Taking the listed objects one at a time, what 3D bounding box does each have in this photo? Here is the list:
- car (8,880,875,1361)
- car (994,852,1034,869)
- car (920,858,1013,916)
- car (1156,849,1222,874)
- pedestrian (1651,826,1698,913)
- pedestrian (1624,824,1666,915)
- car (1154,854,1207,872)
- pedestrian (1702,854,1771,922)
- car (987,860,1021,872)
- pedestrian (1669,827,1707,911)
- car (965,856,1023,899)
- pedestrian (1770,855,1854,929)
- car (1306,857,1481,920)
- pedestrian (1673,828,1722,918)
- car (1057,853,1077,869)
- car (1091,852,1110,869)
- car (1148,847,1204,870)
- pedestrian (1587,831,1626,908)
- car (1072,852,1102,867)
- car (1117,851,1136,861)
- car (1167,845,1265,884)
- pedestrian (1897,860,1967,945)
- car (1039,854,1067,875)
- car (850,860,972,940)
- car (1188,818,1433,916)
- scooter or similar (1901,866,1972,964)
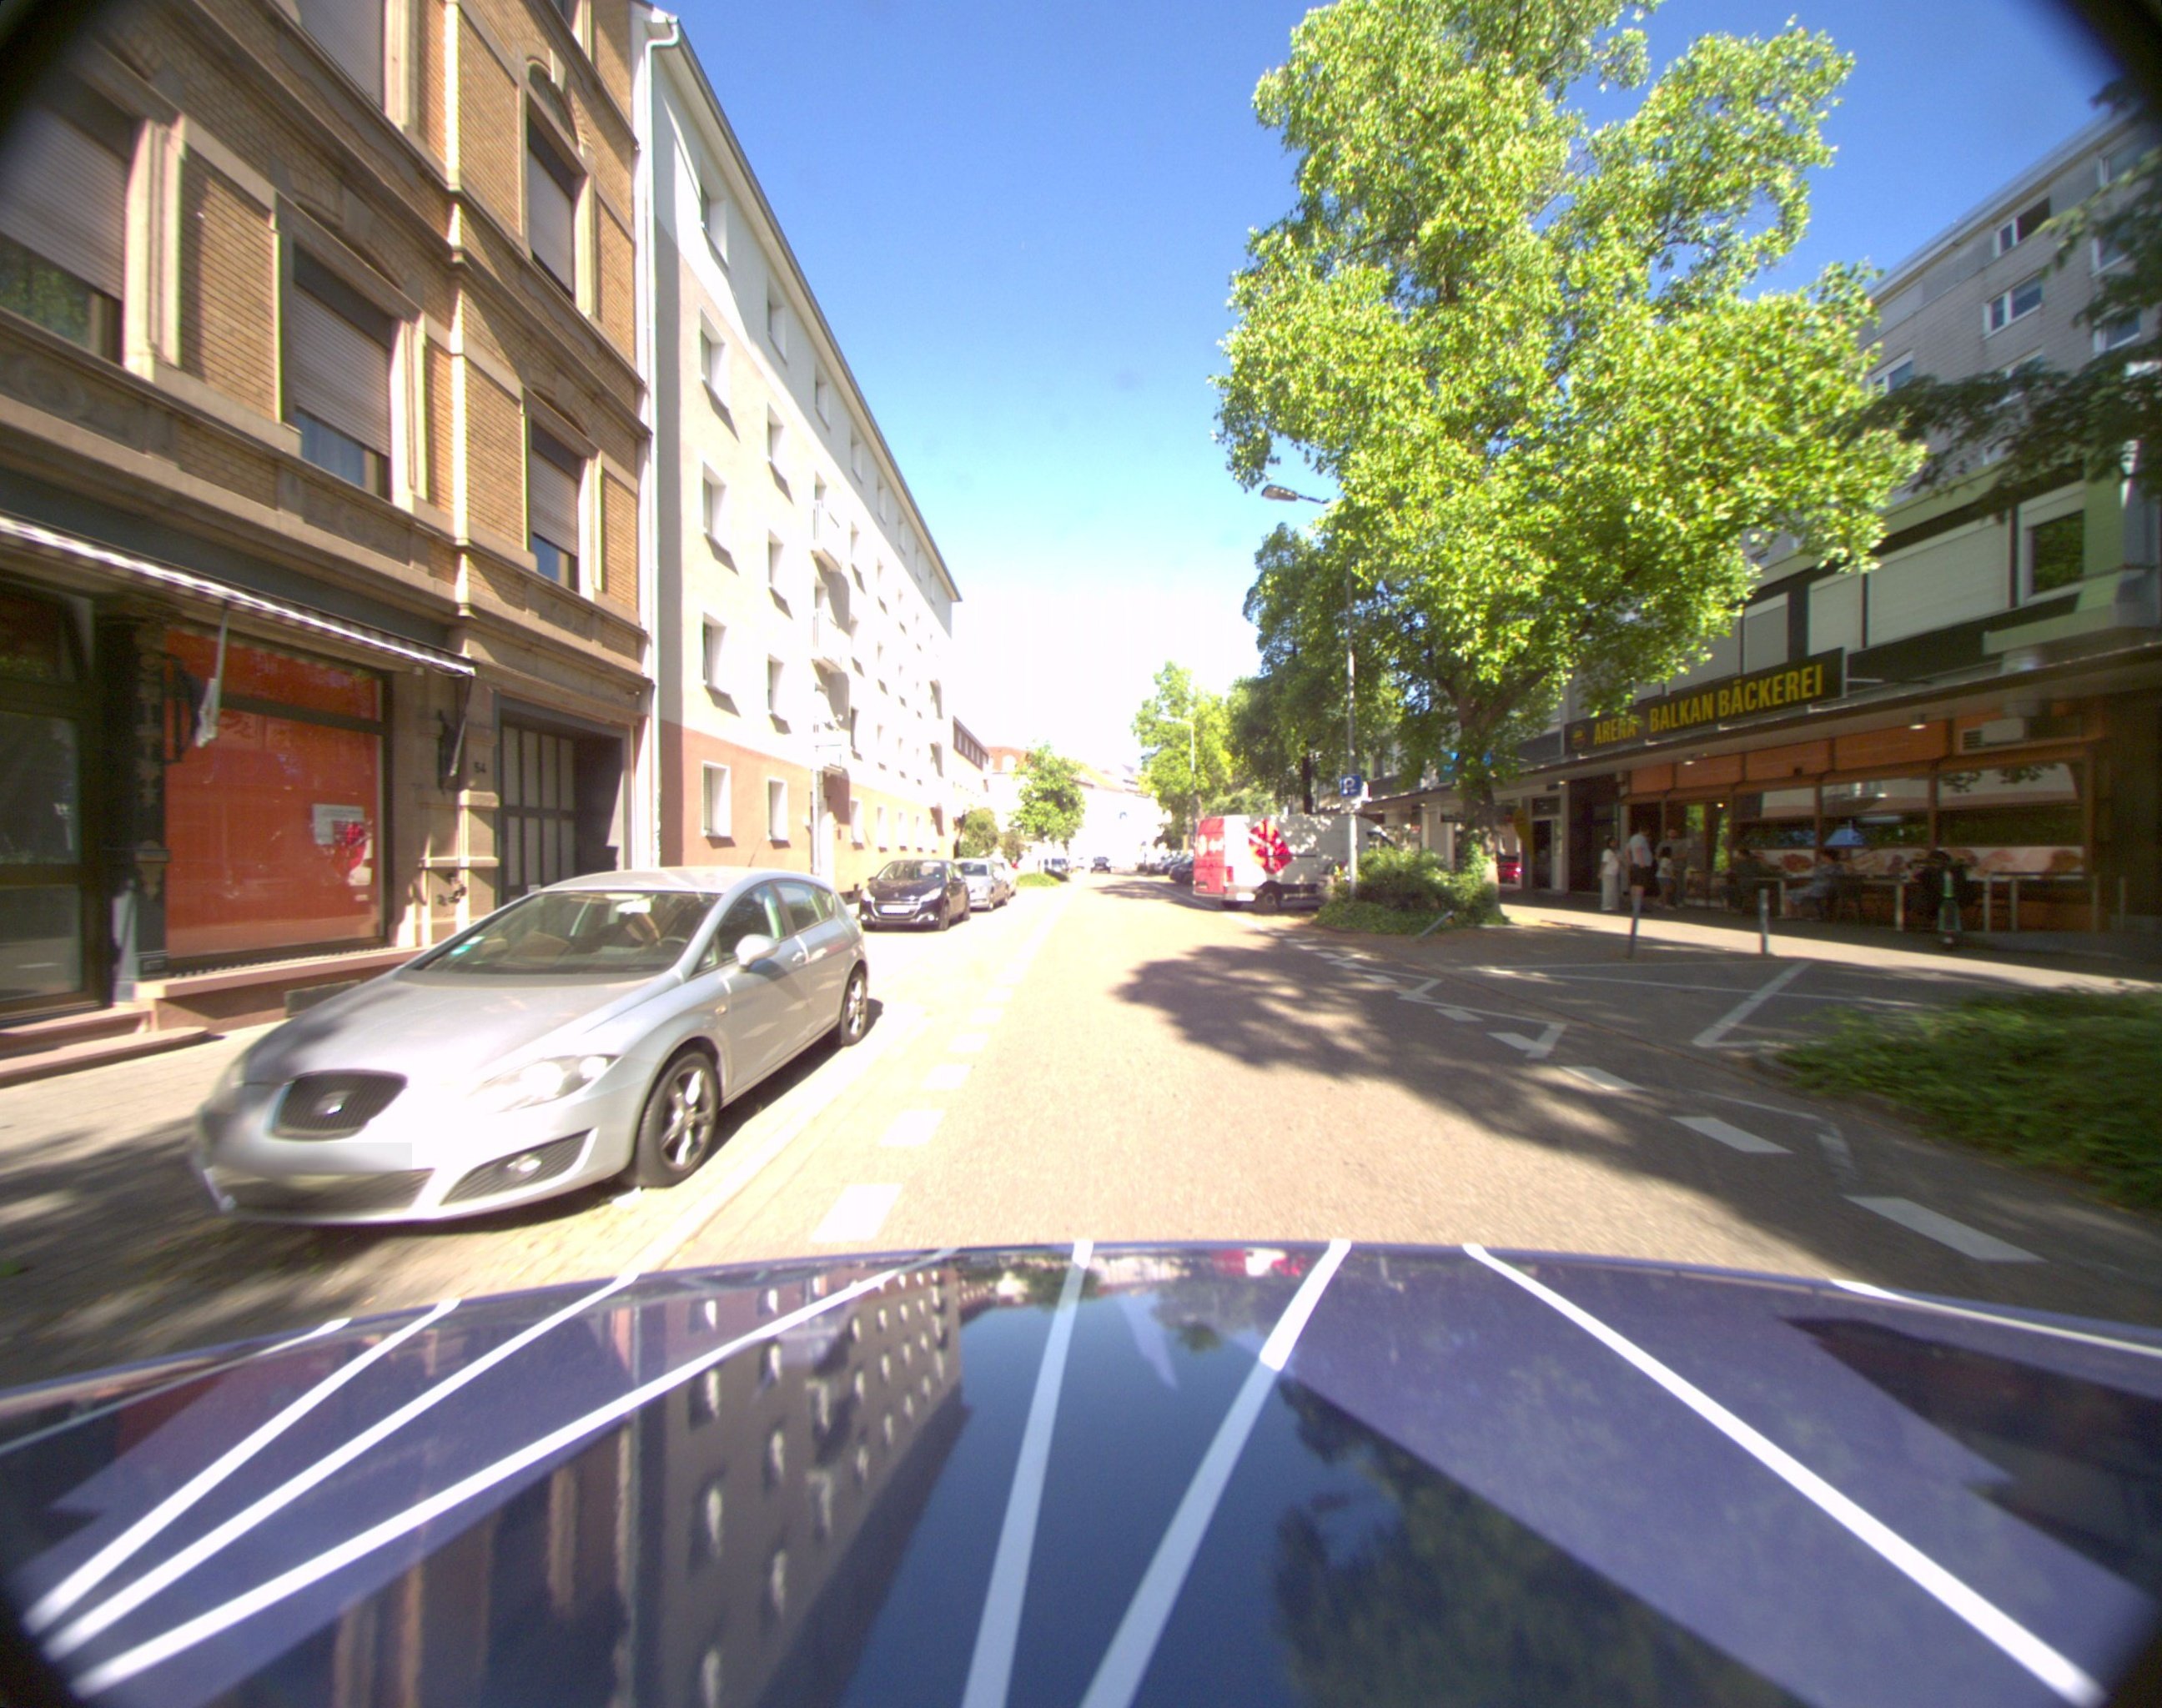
[{"bbox_3d":[-2.655,0.954,4.517,1.743,1.443,4.000,0,0,0],"label":"car"},{"bbox_3d":[-8.010,0.811,91.323,4.756,2.002,1.999,0,0,-3],"label":"car"},{"bbox_3d":[-3.195,0.873,22.156,1.790,1.451,4.517,1,0,3],"label":"car"},{"bbox_3d":[8.391,0.602,59.276,4.781,1.767,1.874,-2,0,-1],"label":"car"},{"bbox_3d":[13.178,0.340,16.886,0.596,1.892,0.579,0,1,-1],"label":"pedestrian"},{"bbox_3d":[12.156,0.332,16.385,0.598,1.924,0.588,0,1,22],"label":"pedestrian"},{"bbox_3d":[8.056,0.721,61.795,3.997,1.390,1.759,0,0,-1],"label":"car"},{"bbox_3d":[13.389,0.673,15.538,0.565,1.333,0.954,-1,1,-1],"label":"pedestrian"},{"bbox_3d":[-8.685,1.353,85.893,3.648,1.394,1.568,0,0,1],"label":"car"},{"bbox_3d":[13.861,0.334,17.351,0.454,1.892,0.492,-1,1,-1],"label":"pedestrian"},{"bbox_3d":[-3.243,0.852,28.952,1.735,1.477,3.794,1,0,0],"label":"car"},{"bbox_3d":[12.949,0.658,13.486,0.609,1.256,0.898,-1,1,-2],"label":"pedestrian"},{"bbox_3d":[7.662,0.819,18.907,3.603,1.412,1.831,-1,0,0],"label":"car"},{"bbox_3d":[13.211,0.397,16.291,0.596,1.892,0.579,-1,1,0],"label":"pedestrian"},{"bbox_3d":[-1.313,0.681,73.340,1.661,1.473,4.312,0,0,2],"label":"car"},{"bbox_3d":[1.762,0.605,68.569,1.612,1.444,3.295,-1,0,0],"label":"car"},{"bbox_3d":[8.926,0.413,71.620,4.995,1.958,1.909,-1,0,-1],"label":"car"},{"bbox_3d":[11.742,0.339,16.990,0.598,1.701,0.588,0,1,22],"label":"pedestrian"},{"bbox_3d":[0.809,0.702,97.013,1.908,1.924,4.818,0,0,27],"label":"car"},{"bbox_3d":[6.726,0.335,111.489,1.632,1.412,3.299,-1,0,24],"label":"car"},{"bbox_3d":[7.345,0.554,41.692,5.043,1.927,1.873,-2,0,0],"label":"car"},{"bbox_3d":[12.778,0.717,11.425,0.329,1.233,0.636,-1,1,-2],"label":"pedestrian"},{"bbox_3d":[-2.006,0.728,55.232,1.720,1.445,4.000,0,1,2],"label":"car"},{"bbox_3d":[-3.486,0.883,16.236,1.713,1.471,3.710,0,0,1],"label":"car"},{"bbox_3d":[6.401,0.278,21.085,6.610,2.459,1.996,-1,1,-20],"label":"car"},{"bbox_3d":[11.816,0.807,10.488,1.320,1.216,0.456,-3,2,-33],"label":"scooter or similar"}]
